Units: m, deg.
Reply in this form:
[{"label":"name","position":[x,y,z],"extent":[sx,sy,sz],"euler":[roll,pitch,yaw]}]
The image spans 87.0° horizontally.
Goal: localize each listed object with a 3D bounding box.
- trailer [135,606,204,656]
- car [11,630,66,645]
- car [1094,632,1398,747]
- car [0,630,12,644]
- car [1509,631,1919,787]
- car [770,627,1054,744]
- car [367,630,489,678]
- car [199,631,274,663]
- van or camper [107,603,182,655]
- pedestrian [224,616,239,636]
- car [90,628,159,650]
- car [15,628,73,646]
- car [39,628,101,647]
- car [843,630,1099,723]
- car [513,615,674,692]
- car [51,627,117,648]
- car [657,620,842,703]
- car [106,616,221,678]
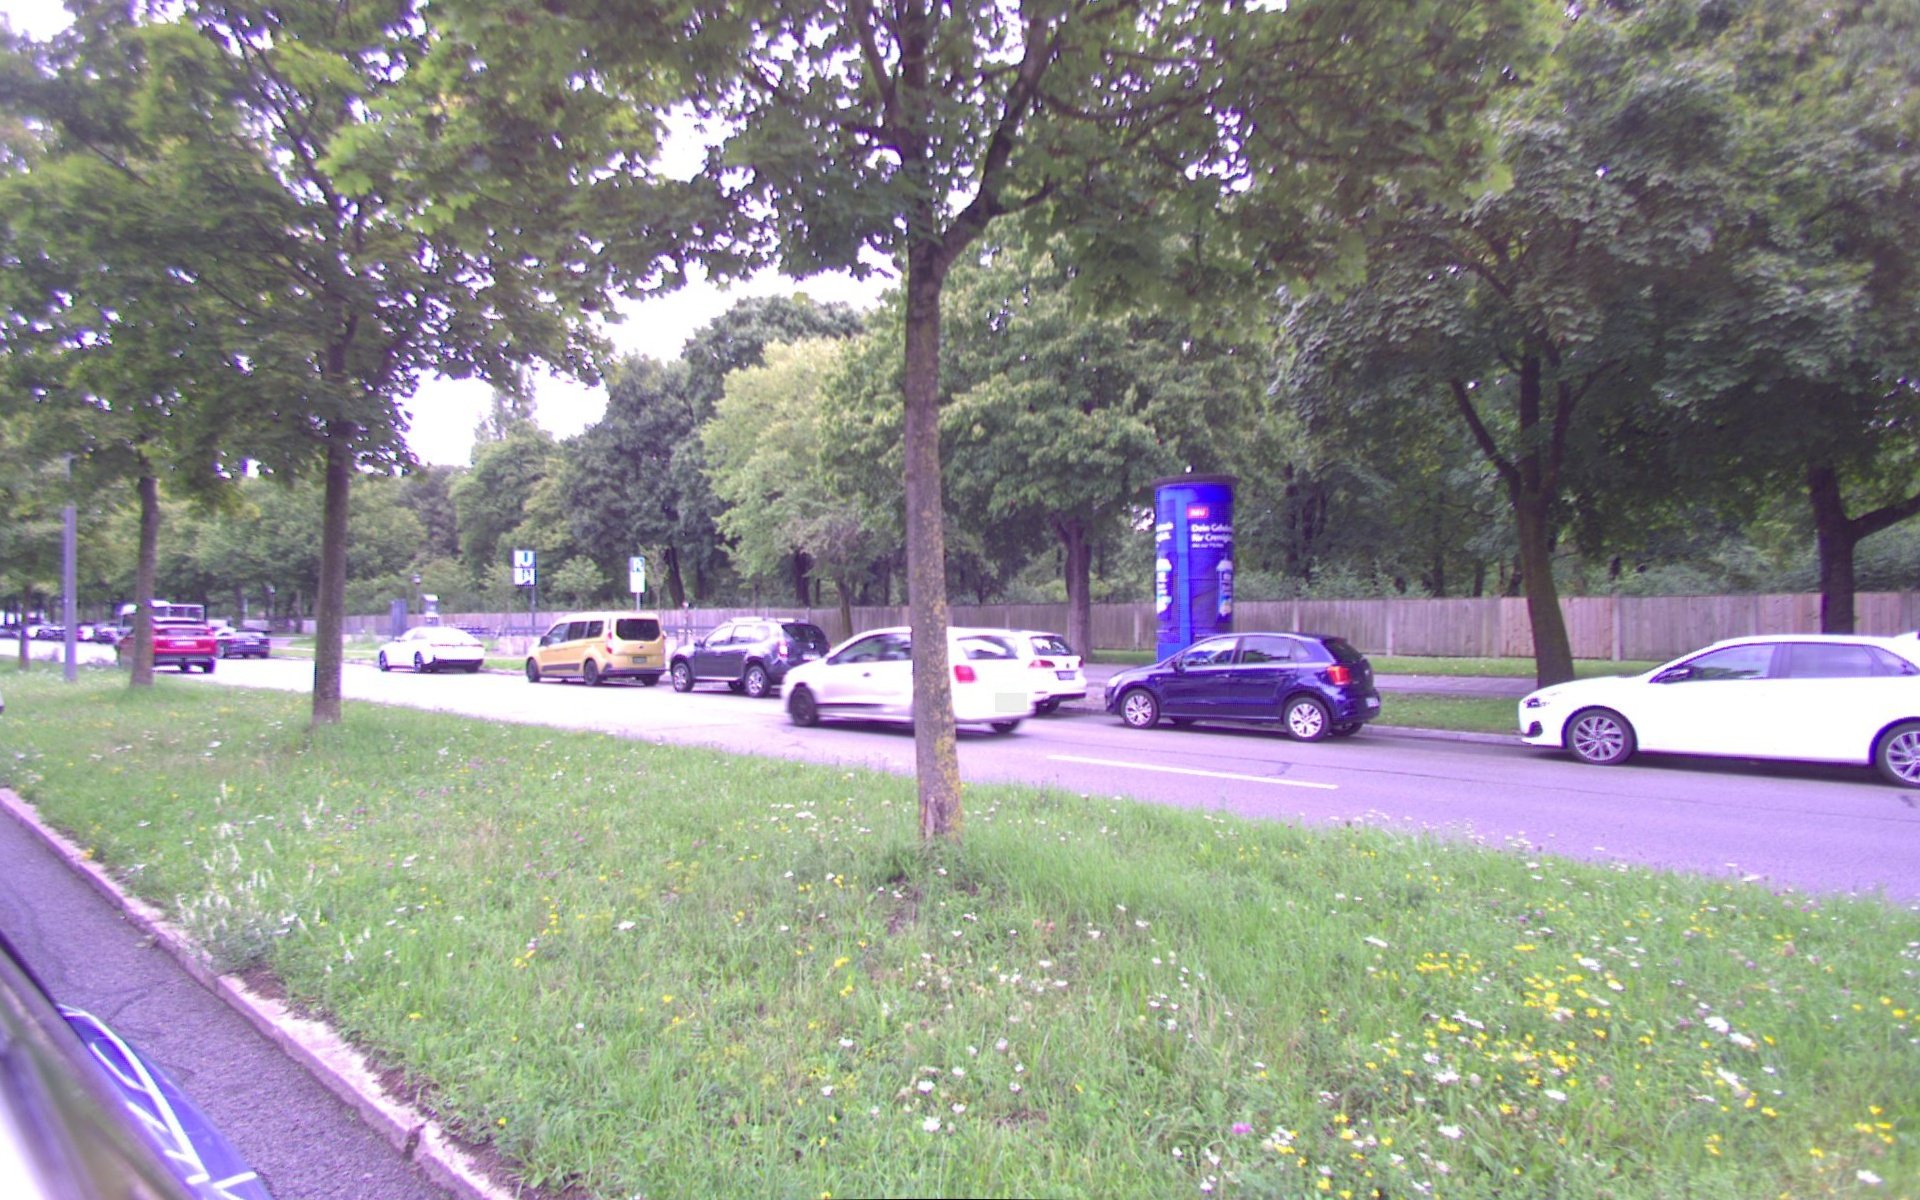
[{"label":"trailer","position":[-42.856,1.684,54.826],"extent":[4.656,2.610,1.996],"euler":[-2,-3,41]},{"label":"car","position":[-93.038,3.814,102.203],"extent":[1.574,1.376,3.988],"euler":[-1,0,10]},{"label":"car","position":[4.005,1.188,14.488],"extent":[3.892,1.428,1.597],"euler":[-1,-3,38]},{"label":"car","position":[-107.228,4.124,112.943],"extent":[4.170,1.454,1.864],"euler":[-1,0,45]},{"label":"car","position":[8.500,1.076,10.932],"extent":[4.276,1.455,1.590],"euler":[-2,-3,41]},{"label":"car","position":[-0.740,1.086,13.886],"extent":[3.835,1.385,1.602],"euler":[-1,-3,40]},{"label":"car","position":[-17.624,1.737,33.413],"extent":[4.871,1.484,1.838],"euler":[-2,-3,40]},{"label":"car","position":[-33.445,2.150,46.724],"extent":[4.428,1.436,1.781],"euler":[-2,-3,41]},{"label":"van or camper","position":[-47.483,1.696,58.846],"extent":[7.542,2.859,2.014],"euler":[-2,-3,41]},{"label":"pedestrian","position":[-64.048,2.283,88.960],"extent":[0.872,1.781,0.761],"euler":[-1,-2,37]},{"label":"car","position":[-64.871,2.982,78.650],"extent":[1.779,1.497,3.993],"euler":[-2,0,6]},{"label":"car","position":[-90.551,3.675,100.104],"extent":[1.869,1.569,3.990],"euler":[-2,0,8]},{"label":"car","position":[-81.320,3.423,92.545],"extent":[1.869,1.569,3.990],"euler":[-2,0,8]},{"label":"car","position":[0.105,1.283,18.125],"extent":[4.529,1.461,1.744],"euler":[-2,-3,40]},{"label":"car","position":[-9.545,1.348,26.164],"extent":[4.815,1.796,1.795],"euler":[-2,-3,42]},{"label":"car","position":[-76.570,3.258,88.535],"extent":[1.872,1.569,3.984],"euler":[-2,0,13]},{"label":"car","position":[-4.700,1.300,22.289],"extent":[4.252,1.658,1.719],"euler":[-2,-3,40]},{"label":"car","position":[-23.850,1.388,30.253],"extent":[4.243,1.709,1.884],"euler":[-1,-3,41]}]
